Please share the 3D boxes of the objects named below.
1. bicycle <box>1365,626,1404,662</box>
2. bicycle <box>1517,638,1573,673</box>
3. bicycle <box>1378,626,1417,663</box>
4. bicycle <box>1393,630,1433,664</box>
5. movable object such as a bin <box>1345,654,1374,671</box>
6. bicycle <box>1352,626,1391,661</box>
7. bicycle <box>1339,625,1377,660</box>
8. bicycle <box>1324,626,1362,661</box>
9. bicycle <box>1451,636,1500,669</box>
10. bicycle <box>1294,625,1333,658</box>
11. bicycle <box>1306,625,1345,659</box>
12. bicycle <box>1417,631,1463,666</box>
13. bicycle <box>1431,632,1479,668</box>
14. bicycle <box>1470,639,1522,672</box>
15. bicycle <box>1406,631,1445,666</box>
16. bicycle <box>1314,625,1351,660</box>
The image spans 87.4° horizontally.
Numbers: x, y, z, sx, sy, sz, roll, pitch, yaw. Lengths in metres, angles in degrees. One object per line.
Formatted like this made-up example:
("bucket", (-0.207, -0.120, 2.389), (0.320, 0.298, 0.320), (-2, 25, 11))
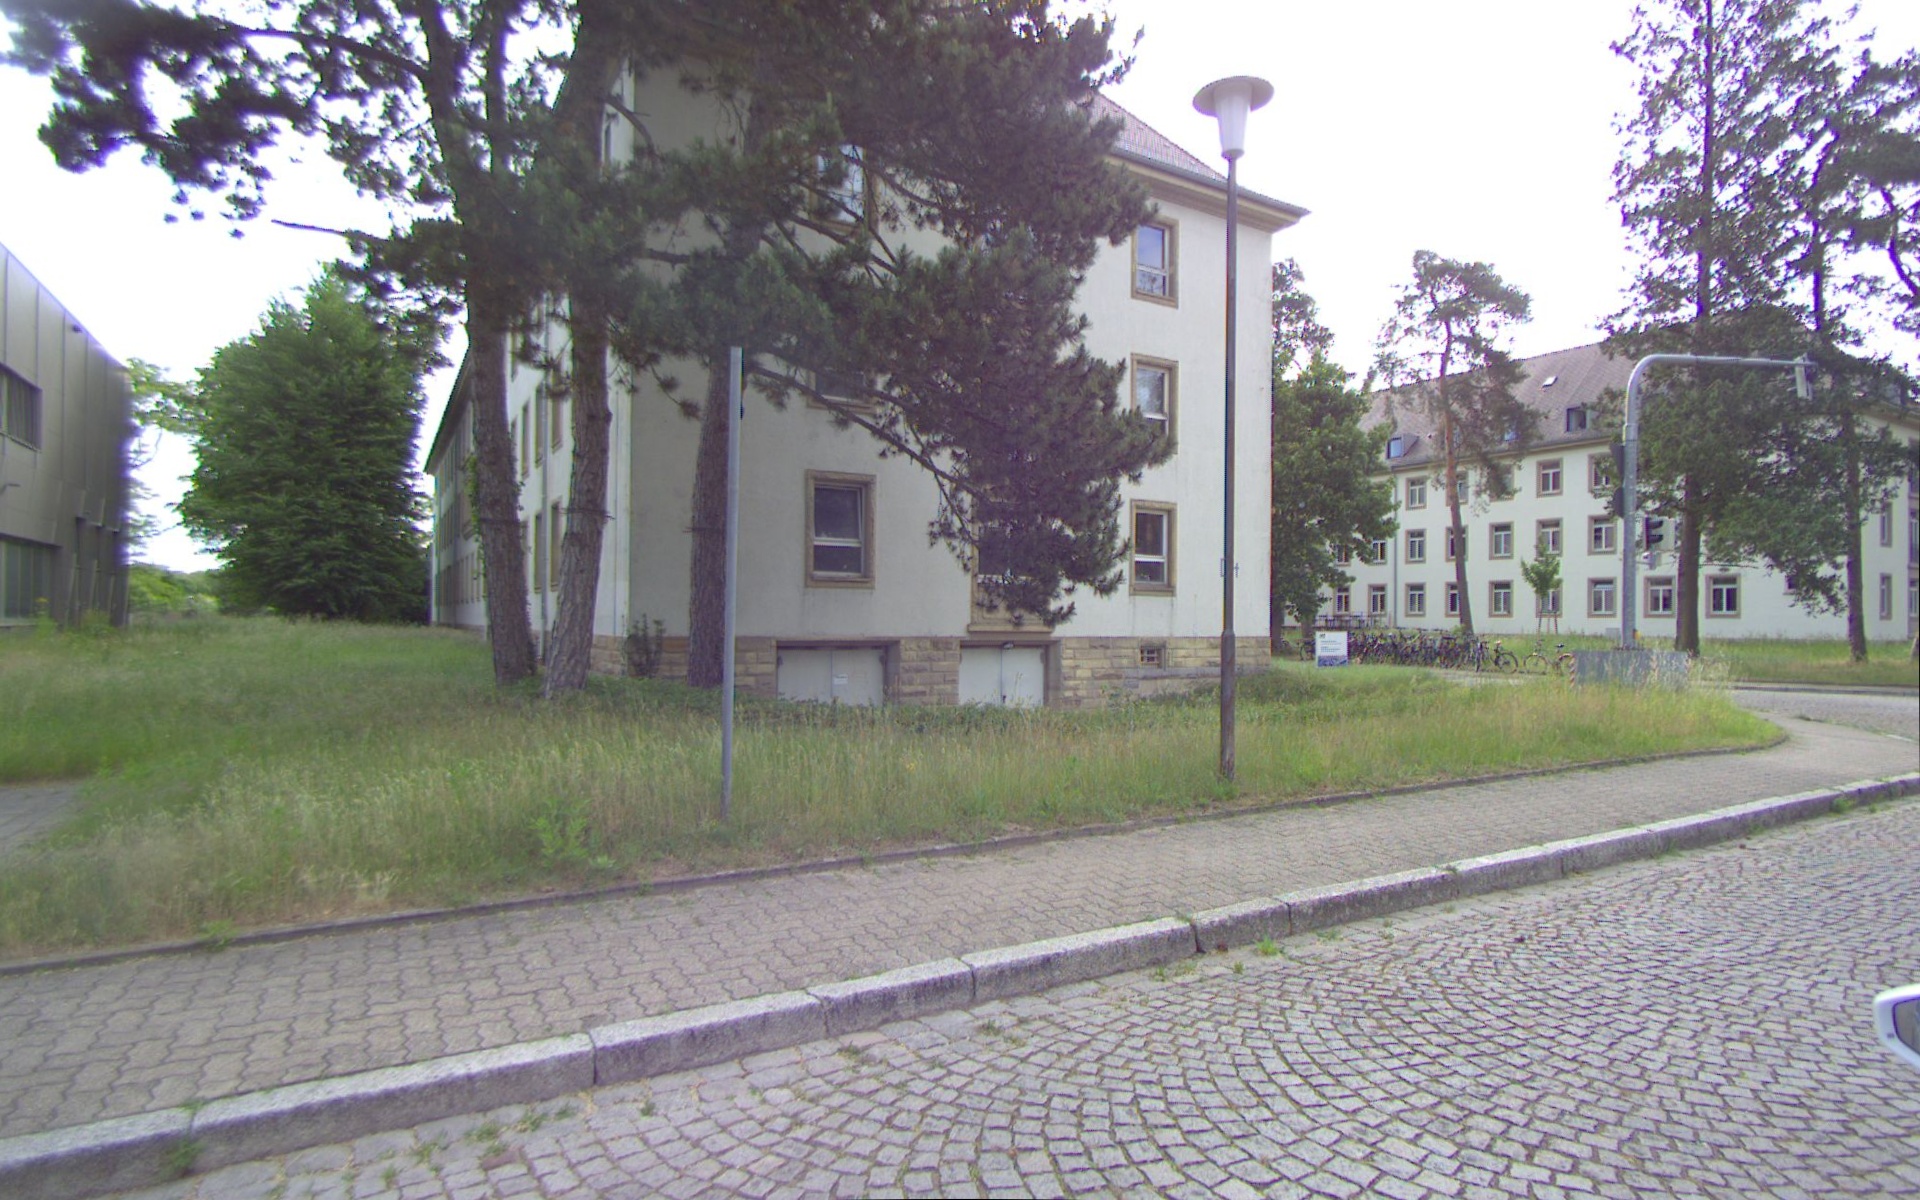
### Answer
("bicycle", (15.595, 1.611, 36.905), (1.677, 1.300, 0.446), (1, -1, -33))
("bicycle", (17.774, 1.671, 30.551), (0.447, 1.009, 1.452), (1, -1, -29))
("bicycle", (15.887, 1.617, 36.493), (1.677, 1.300, 0.446), (1, -1, -33))
("bicycle", (16.160, 1.675, 35.825), (1.677, 1.193, 0.446), (1, -1, -33))
("movable object such as a bin", (12.761, 1.998, 32.103), (0.440, 0.510, 0.746), (1, -1, -31))
("bicycle", (15.297, 1.604, 37.324), (1.677, 1.300, 0.446), (1, -1, -33))
("bicycle", (14.991, 1.598, 37.795), (1.677, 1.300, 0.446), (1, -1, -33))
("bicycle", (14.630, 1.644, 38.351), (1.677, 1.300, 0.446), (1, -1, -33))
("bicycle", (17.423, 1.757, 33.937), (1.975, 1.092, 0.571), (1, -1, -33))
("bicycle", (13.951, 1.631, 39.599), (1.808, 1.300, 0.446), (1, -1, -33))
("bicycle", (14.298, 1.651, 39.271), (1.766, 1.300, 0.440), (1, -1, -33))
("bicycle", (16.732, 1.687, 35.009), (1.909, 1.193, 0.524), (1, -1, -33))
("bicycle", (16.990, 1.692, 34.483), (1.933, 1.193, 0.571), (1, -1, -33))
("bicycle", (16.979, 1.748, 31.850), (0.447, 1.009, 1.452), (1, -1, -29))
("bicycle", (16.424, 1.693, 35.419), (1.677, 1.193, 0.446), (1, -1, -33))
("bicycle", (14.372, 1.638, 38.763), (1.677, 1.300, 0.446), (1, -1, -33))
